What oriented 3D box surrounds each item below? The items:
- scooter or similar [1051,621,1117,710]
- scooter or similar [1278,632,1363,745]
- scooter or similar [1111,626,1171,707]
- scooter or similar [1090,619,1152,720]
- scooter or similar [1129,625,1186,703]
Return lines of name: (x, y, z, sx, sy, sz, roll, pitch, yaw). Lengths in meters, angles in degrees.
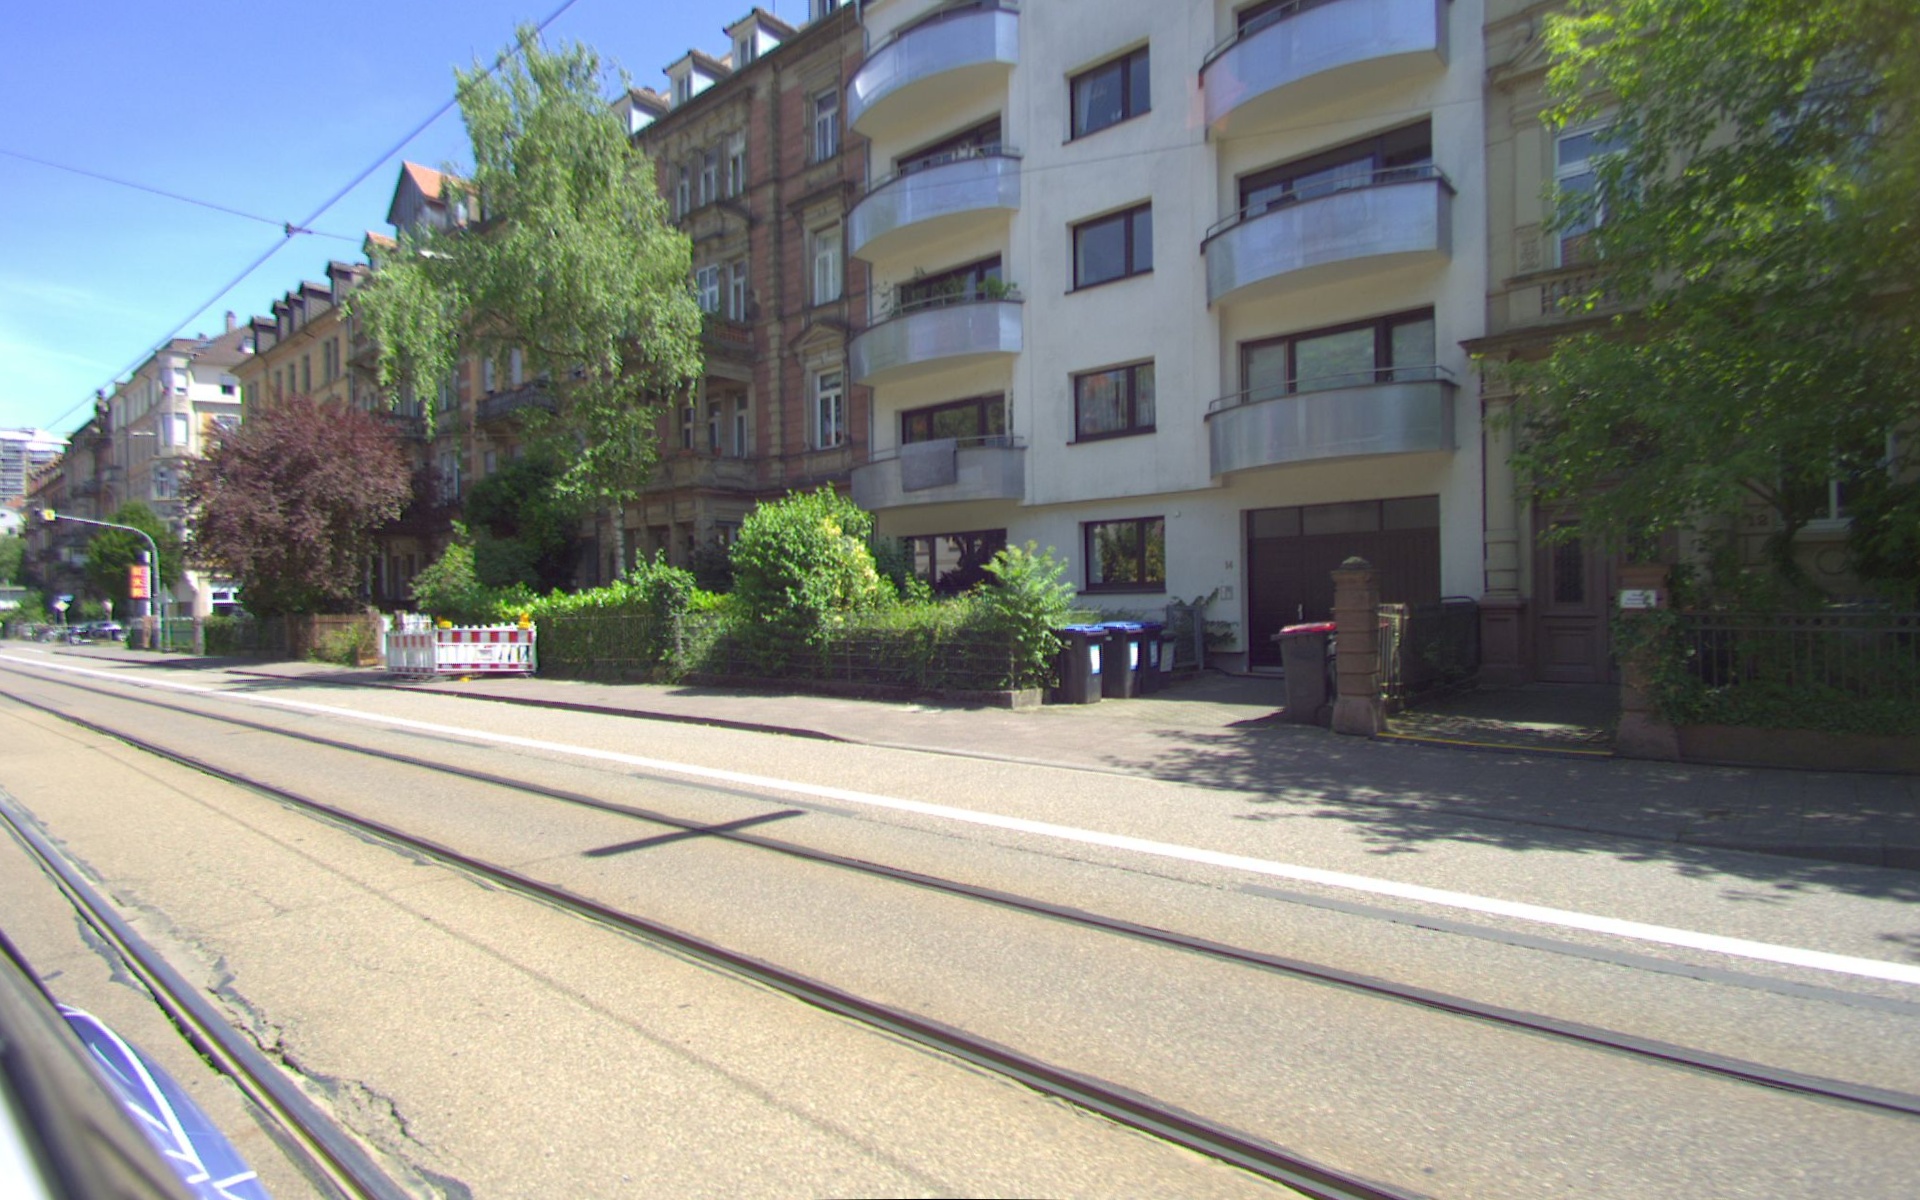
scooter or similar: (1.698, 0.880, 13.874, 0.693, 1.166, 0.610, -2, -1, 31)
scooter or similar: (3.914, 0.936, 10.993, 0.694, 1.166, 0.609, -2, -1, 38)
scooter or similar: (2.695, 0.978, 15.078, 0.693, 1.166, 0.610, -2, -2, 31)
scooter or similar: (2.314, 0.979, 14.522, 0.693, 1.410, 0.610, -2, -1, 31)
scooter or similar: (3.062, 0.976, 15.656, 0.693, 1.166, 0.610, -2, -2, 31)
